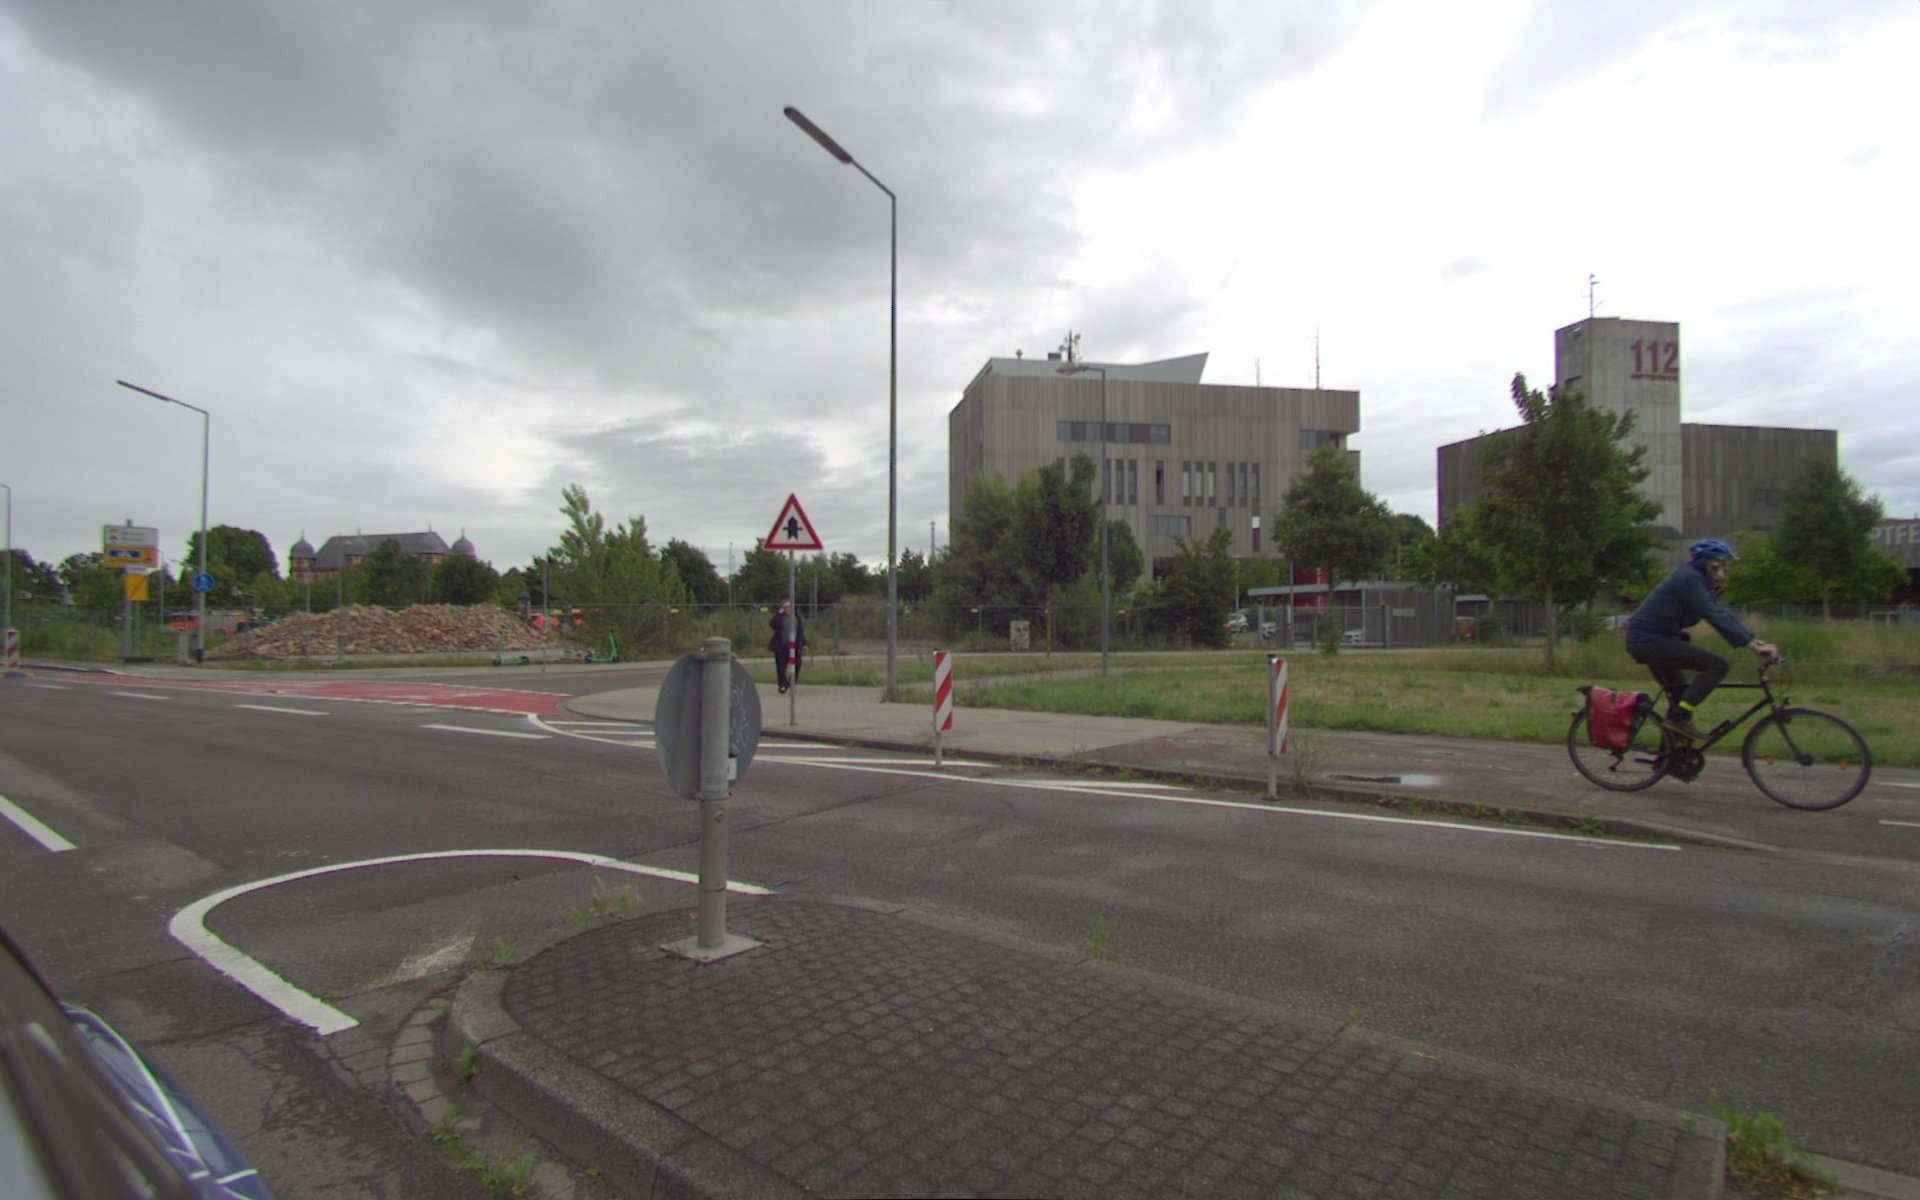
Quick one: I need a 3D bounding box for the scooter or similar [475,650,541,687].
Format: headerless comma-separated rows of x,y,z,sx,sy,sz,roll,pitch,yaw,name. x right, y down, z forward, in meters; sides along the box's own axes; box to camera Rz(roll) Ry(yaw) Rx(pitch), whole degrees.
-14.890,2.244,33.363,1.873,1.151,0.658,-1,-1,-7,scooter or similar

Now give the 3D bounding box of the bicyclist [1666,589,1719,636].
30.599,0.546,42.295,1.379,1.914,1.080,-1,-2,-13,bicyclist

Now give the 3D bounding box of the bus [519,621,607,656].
-48.847,4.711,124.765,9.728,4.013,2.740,-1,-2,-11,bus

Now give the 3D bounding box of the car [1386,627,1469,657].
26.538,2.383,57.496,3.936,1.608,1.776,0,-2,-9,car

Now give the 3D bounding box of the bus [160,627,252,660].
-87.896,5.077,118.113,8.259,3.676,2.741,-1,-2,-13,bus

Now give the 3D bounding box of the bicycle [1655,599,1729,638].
30.575,0.781,42.298,2.458,1.596,1.089,-1,-2,-13,bicycle

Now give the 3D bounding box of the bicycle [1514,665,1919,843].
5.438,1.011,7.200,2.467,1.060,0.874,-3,-3,41,bicycle

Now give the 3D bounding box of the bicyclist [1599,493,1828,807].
5.382,0.348,7.264,1.176,2.029,0.853,-3,-3,39,bicyclist

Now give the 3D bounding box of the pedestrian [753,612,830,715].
-3.047,1.140,18.291,1.074,1.796,0.837,-3,-3,34,pedestrian

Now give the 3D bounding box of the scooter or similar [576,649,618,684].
-12.452,2.266,34.735,1.315,1.151,0.413,0,0,-22,scooter or similar

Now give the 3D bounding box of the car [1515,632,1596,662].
36.635,2.859,62.273,3.938,1.752,1.817,0,-2,-6,car

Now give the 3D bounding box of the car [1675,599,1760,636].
44.702,1.041,59.738,3.932,2.029,2.006,0,-2,-16,car
